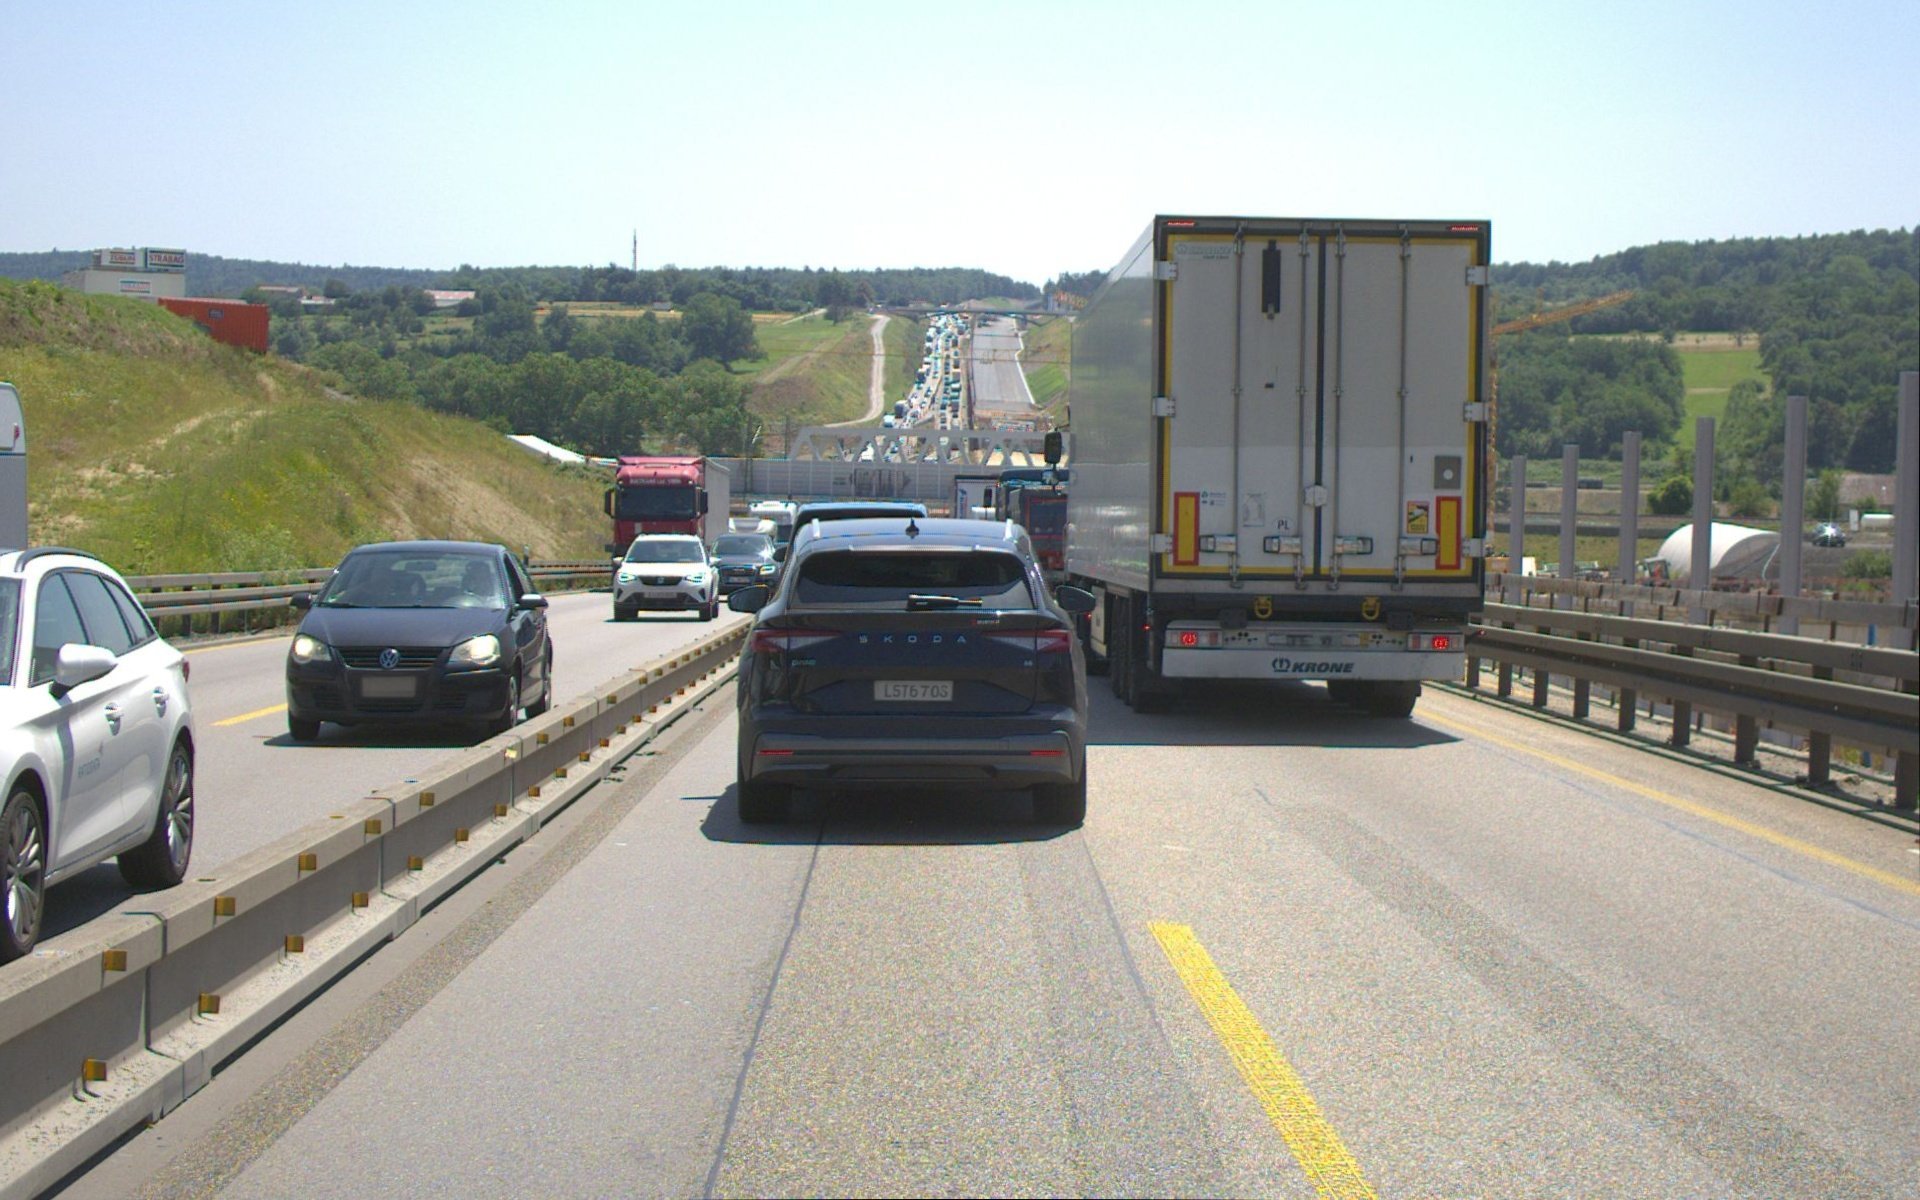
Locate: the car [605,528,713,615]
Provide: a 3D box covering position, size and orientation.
[{"bbox_3d":[-5.391,-0.532,61.905,1.792,1.513,3.999,0,1,-3],"label":"car"}]

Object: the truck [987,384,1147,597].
[{"bbox_3d":[2.318,-2.346,77.548,3.180,4.498,8.166,1,0,-1],"label":"truck"}]

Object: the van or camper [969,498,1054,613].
[{"bbox_3d":[1.546,-1.261,101.498,2.389,3.269,6.468,1,0,1],"label":"van or camper"}]

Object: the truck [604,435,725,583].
[{"bbox_3d":[-8.881,-2.622,104.401,2.852,4.125,11.918,1,0,-1],"label":"truck"}]

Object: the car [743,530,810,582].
[{"bbox_3d":[-5.516,-1.337,103.873,1.862,1.471,4.000,1,1,-1],"label":"car"}]

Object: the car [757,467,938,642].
[{"bbox_3d":[-1.288,-0.501,40.459,1.993,1.919,4.508,1,0,-1],"label":"car"}]

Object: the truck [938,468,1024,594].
[{"bbox_3d":[0.723,-2.474,129.435,2.852,4.450,11.918,1,0,-1],"label":"truck"}]

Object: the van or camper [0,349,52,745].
[{"bbox_3d":[-7.613,-0.312,20.603,2.357,2.667,7.858,0,1,-1],"label":"van or camper"}]

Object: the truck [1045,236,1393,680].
[{"bbox_3d":[2.747,-1.546,39.211,3.180,4.497,8.166,1,1,-1],"label":"truck"}]

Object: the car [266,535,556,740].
[{"bbox_3d":[-4.055,0.228,25.908,1.665,1.408,3.818,1,1,-2],"label":"car"}]

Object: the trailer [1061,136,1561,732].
[{"bbox_3d":[2.862,-1.417,32.729,3.180,4.497,13.109,1,1,-1],"label":"trailer"}]

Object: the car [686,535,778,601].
[{"bbox_3d":[-5.392,-0.769,81.706,1.993,1.525,4.000,0,1,-1],"label":"car"}]

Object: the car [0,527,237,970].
[{"bbox_3d":[-4.200,0.454,13.312,1.912,1.475,4.637,0,1,-1],"label":"car"}]

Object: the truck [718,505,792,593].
[{"bbox_3d":[-9.231,-2.233,155.570,2.852,3.769,11.918,1,0,-1],"label":"truck"}]

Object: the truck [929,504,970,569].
[{"bbox_3d":[-0.731,-4.253,233.043,2.639,4.179,9.284,1,0,-1],"label":"truck"}]

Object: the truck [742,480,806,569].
[{"bbox_3d":[-9.619,-3.863,178.771,2.852,4.323,11.918,1,0,-1],"label":"truck"}]

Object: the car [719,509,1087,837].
[{"bbox_3d":[-0.284,0.345,19.007,1.802,1.602,4.000,1,0,0],"label":"car"}]

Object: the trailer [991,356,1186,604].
[{"bbox_3d":[2.420,-2.181,70.355,3.180,4.498,14.967,1,0,-1],"label":"trailer"}]

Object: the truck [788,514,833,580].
[{"bbox_3d":[-10.312,-3.597,238.120,2.852,4.323,11.918,1,0,-1],"label":"truck"}]
